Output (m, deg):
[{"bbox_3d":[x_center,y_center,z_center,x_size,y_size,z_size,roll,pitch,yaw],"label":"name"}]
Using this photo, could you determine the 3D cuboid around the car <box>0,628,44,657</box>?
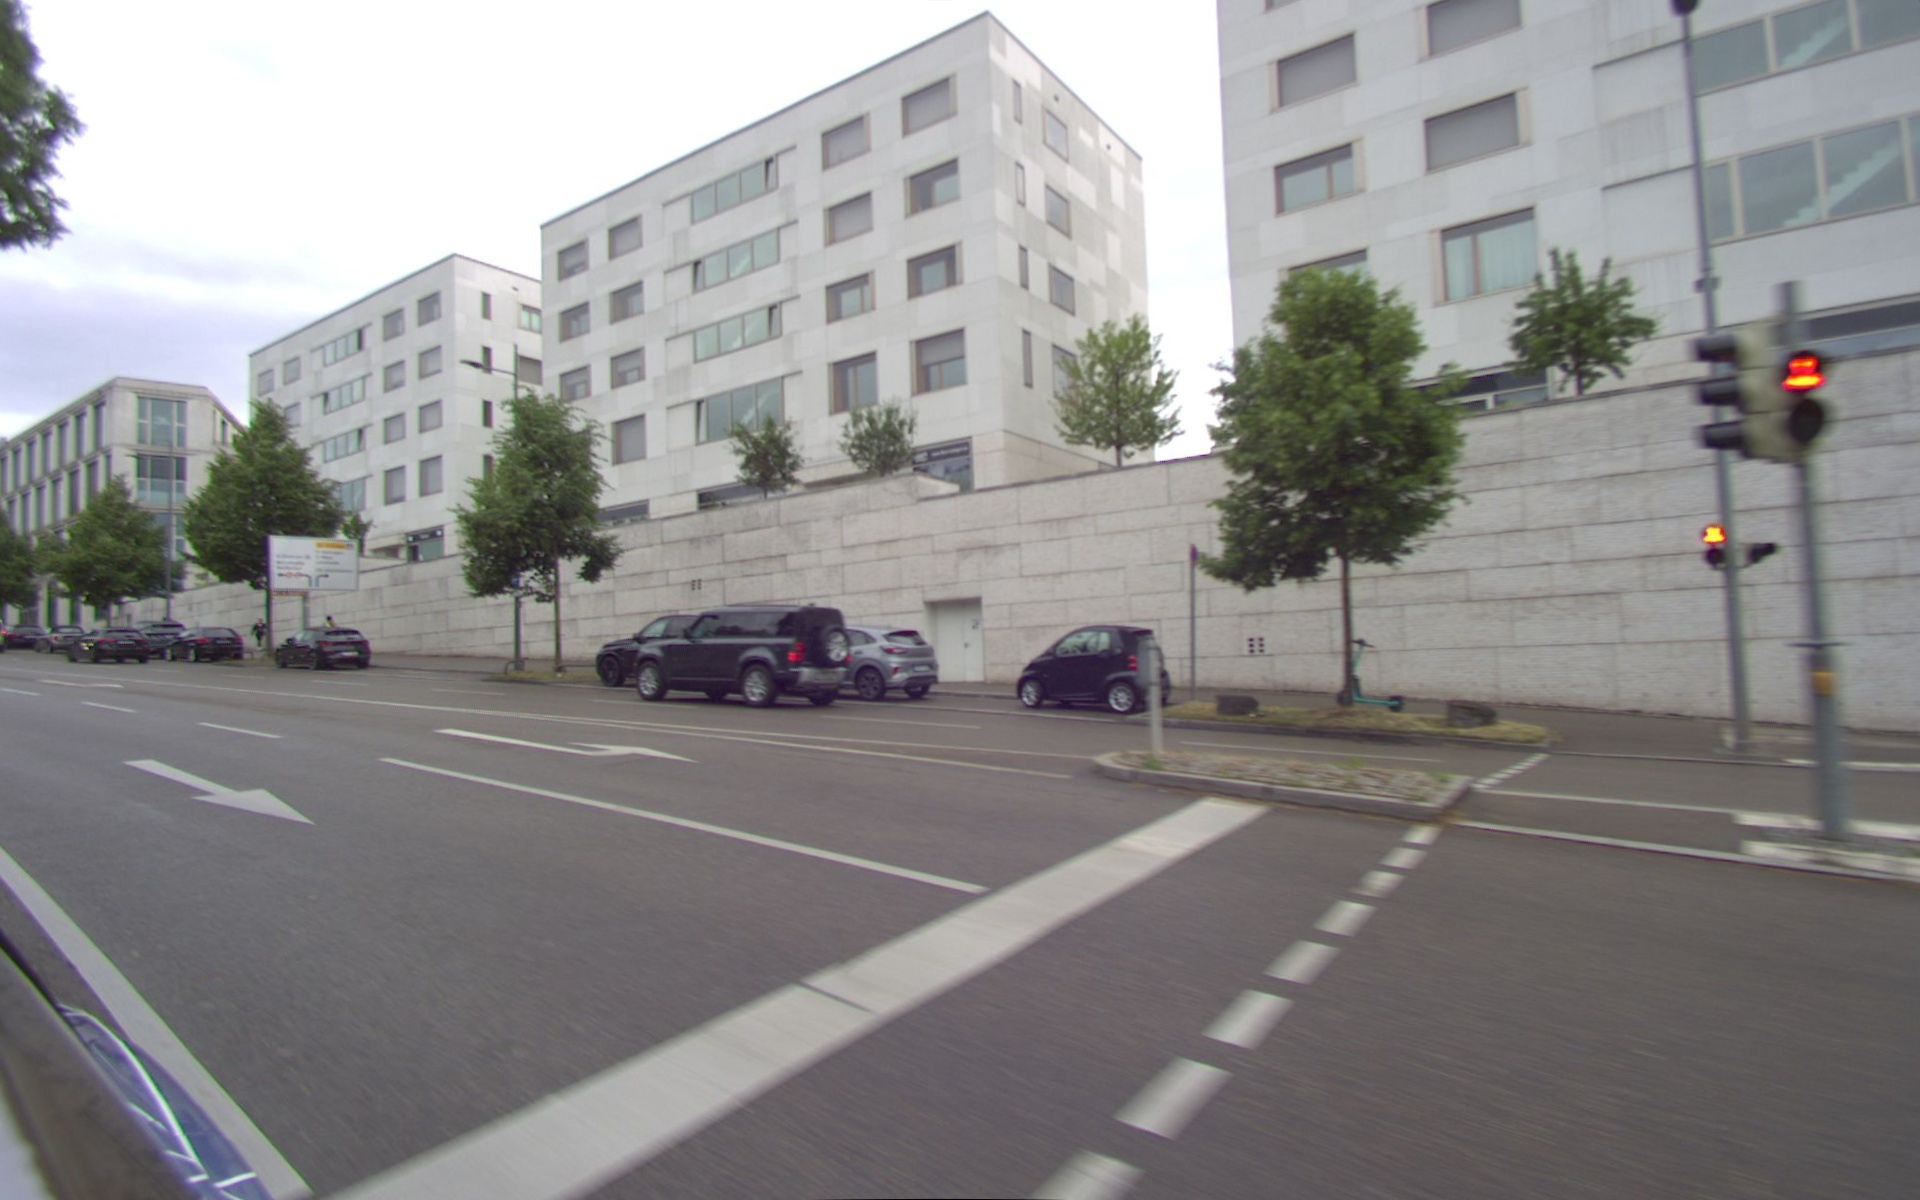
[{"bbox_3d":[-53.574,2.371,57.320,4.008,1.593,1.680,-1,-2,35],"label":"car"}]

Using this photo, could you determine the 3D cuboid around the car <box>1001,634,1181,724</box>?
[{"bbox_3d":[2.419,1.405,18.862,2.974,1.526,1.495,-1,-2,36],"label":"car"}]

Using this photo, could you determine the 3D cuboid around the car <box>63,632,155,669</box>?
[{"bbox_3d":[-33.845,2.019,40.223,4.180,1.392,1.755,-1,-4,35],"label":"car"}]

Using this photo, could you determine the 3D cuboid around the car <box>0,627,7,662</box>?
[{"bbox_3d":[-51.522,2.290,52.767,4.326,1.760,1.696,-2,-5,34],"label":"car"}]

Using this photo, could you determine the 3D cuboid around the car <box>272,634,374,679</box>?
[{"bbox_3d":[-22.225,1.926,35.265,3.957,1.437,1.664,-1,-2,36],"label":"car"}]

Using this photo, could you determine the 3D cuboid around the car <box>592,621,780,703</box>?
[{"bbox_3d":[-6.654,1.423,24.406,4.583,1.794,1.842,-1,-2,33],"label":"car"}]

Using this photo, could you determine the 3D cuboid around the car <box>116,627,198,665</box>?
[{"bbox_3d":[-35.926,2.028,45.253,4.352,1.633,1.688,-1,-2,35],"label":"car"}]

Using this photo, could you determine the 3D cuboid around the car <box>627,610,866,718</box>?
[{"bbox_3d":[-4.188,1.229,19.640,4.493,1.872,1.905,-2,-5,34],"label":"car"}]

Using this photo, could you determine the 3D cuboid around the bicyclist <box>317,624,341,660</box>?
[{"bbox_3d":[-26.827,1.785,43.020,0.767,1.529,0.571,0,-2,35],"label":"bicyclist"}]

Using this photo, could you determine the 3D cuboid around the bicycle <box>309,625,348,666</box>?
[{"bbox_3d":[-26.906,1.923,43.115,1.876,1.669,0.736,0,0,35],"label":"bicycle"}]

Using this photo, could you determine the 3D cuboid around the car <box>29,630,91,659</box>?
[{"bbox_3d":[-47.209,2.333,53.070,3.852,1.455,1.680,-2,-2,36],"label":"car"}]

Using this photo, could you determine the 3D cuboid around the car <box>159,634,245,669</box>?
[{"bbox_3d":[-31.296,2.118,41.769,4.154,1.370,1.680,-2,-3,36],"label":"car"}]

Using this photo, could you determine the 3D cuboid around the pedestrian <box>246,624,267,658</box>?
[{"bbox_3d":[-36.954,2.147,53.145,0.690,1.788,0.712,-3,-3,34],"label":"pedestrian"}]

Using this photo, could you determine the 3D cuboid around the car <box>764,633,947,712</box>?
[{"bbox_3d":[-2.248,1.473,21.433,3.701,1.526,1.665,-1,-2,35],"label":"car"}]
